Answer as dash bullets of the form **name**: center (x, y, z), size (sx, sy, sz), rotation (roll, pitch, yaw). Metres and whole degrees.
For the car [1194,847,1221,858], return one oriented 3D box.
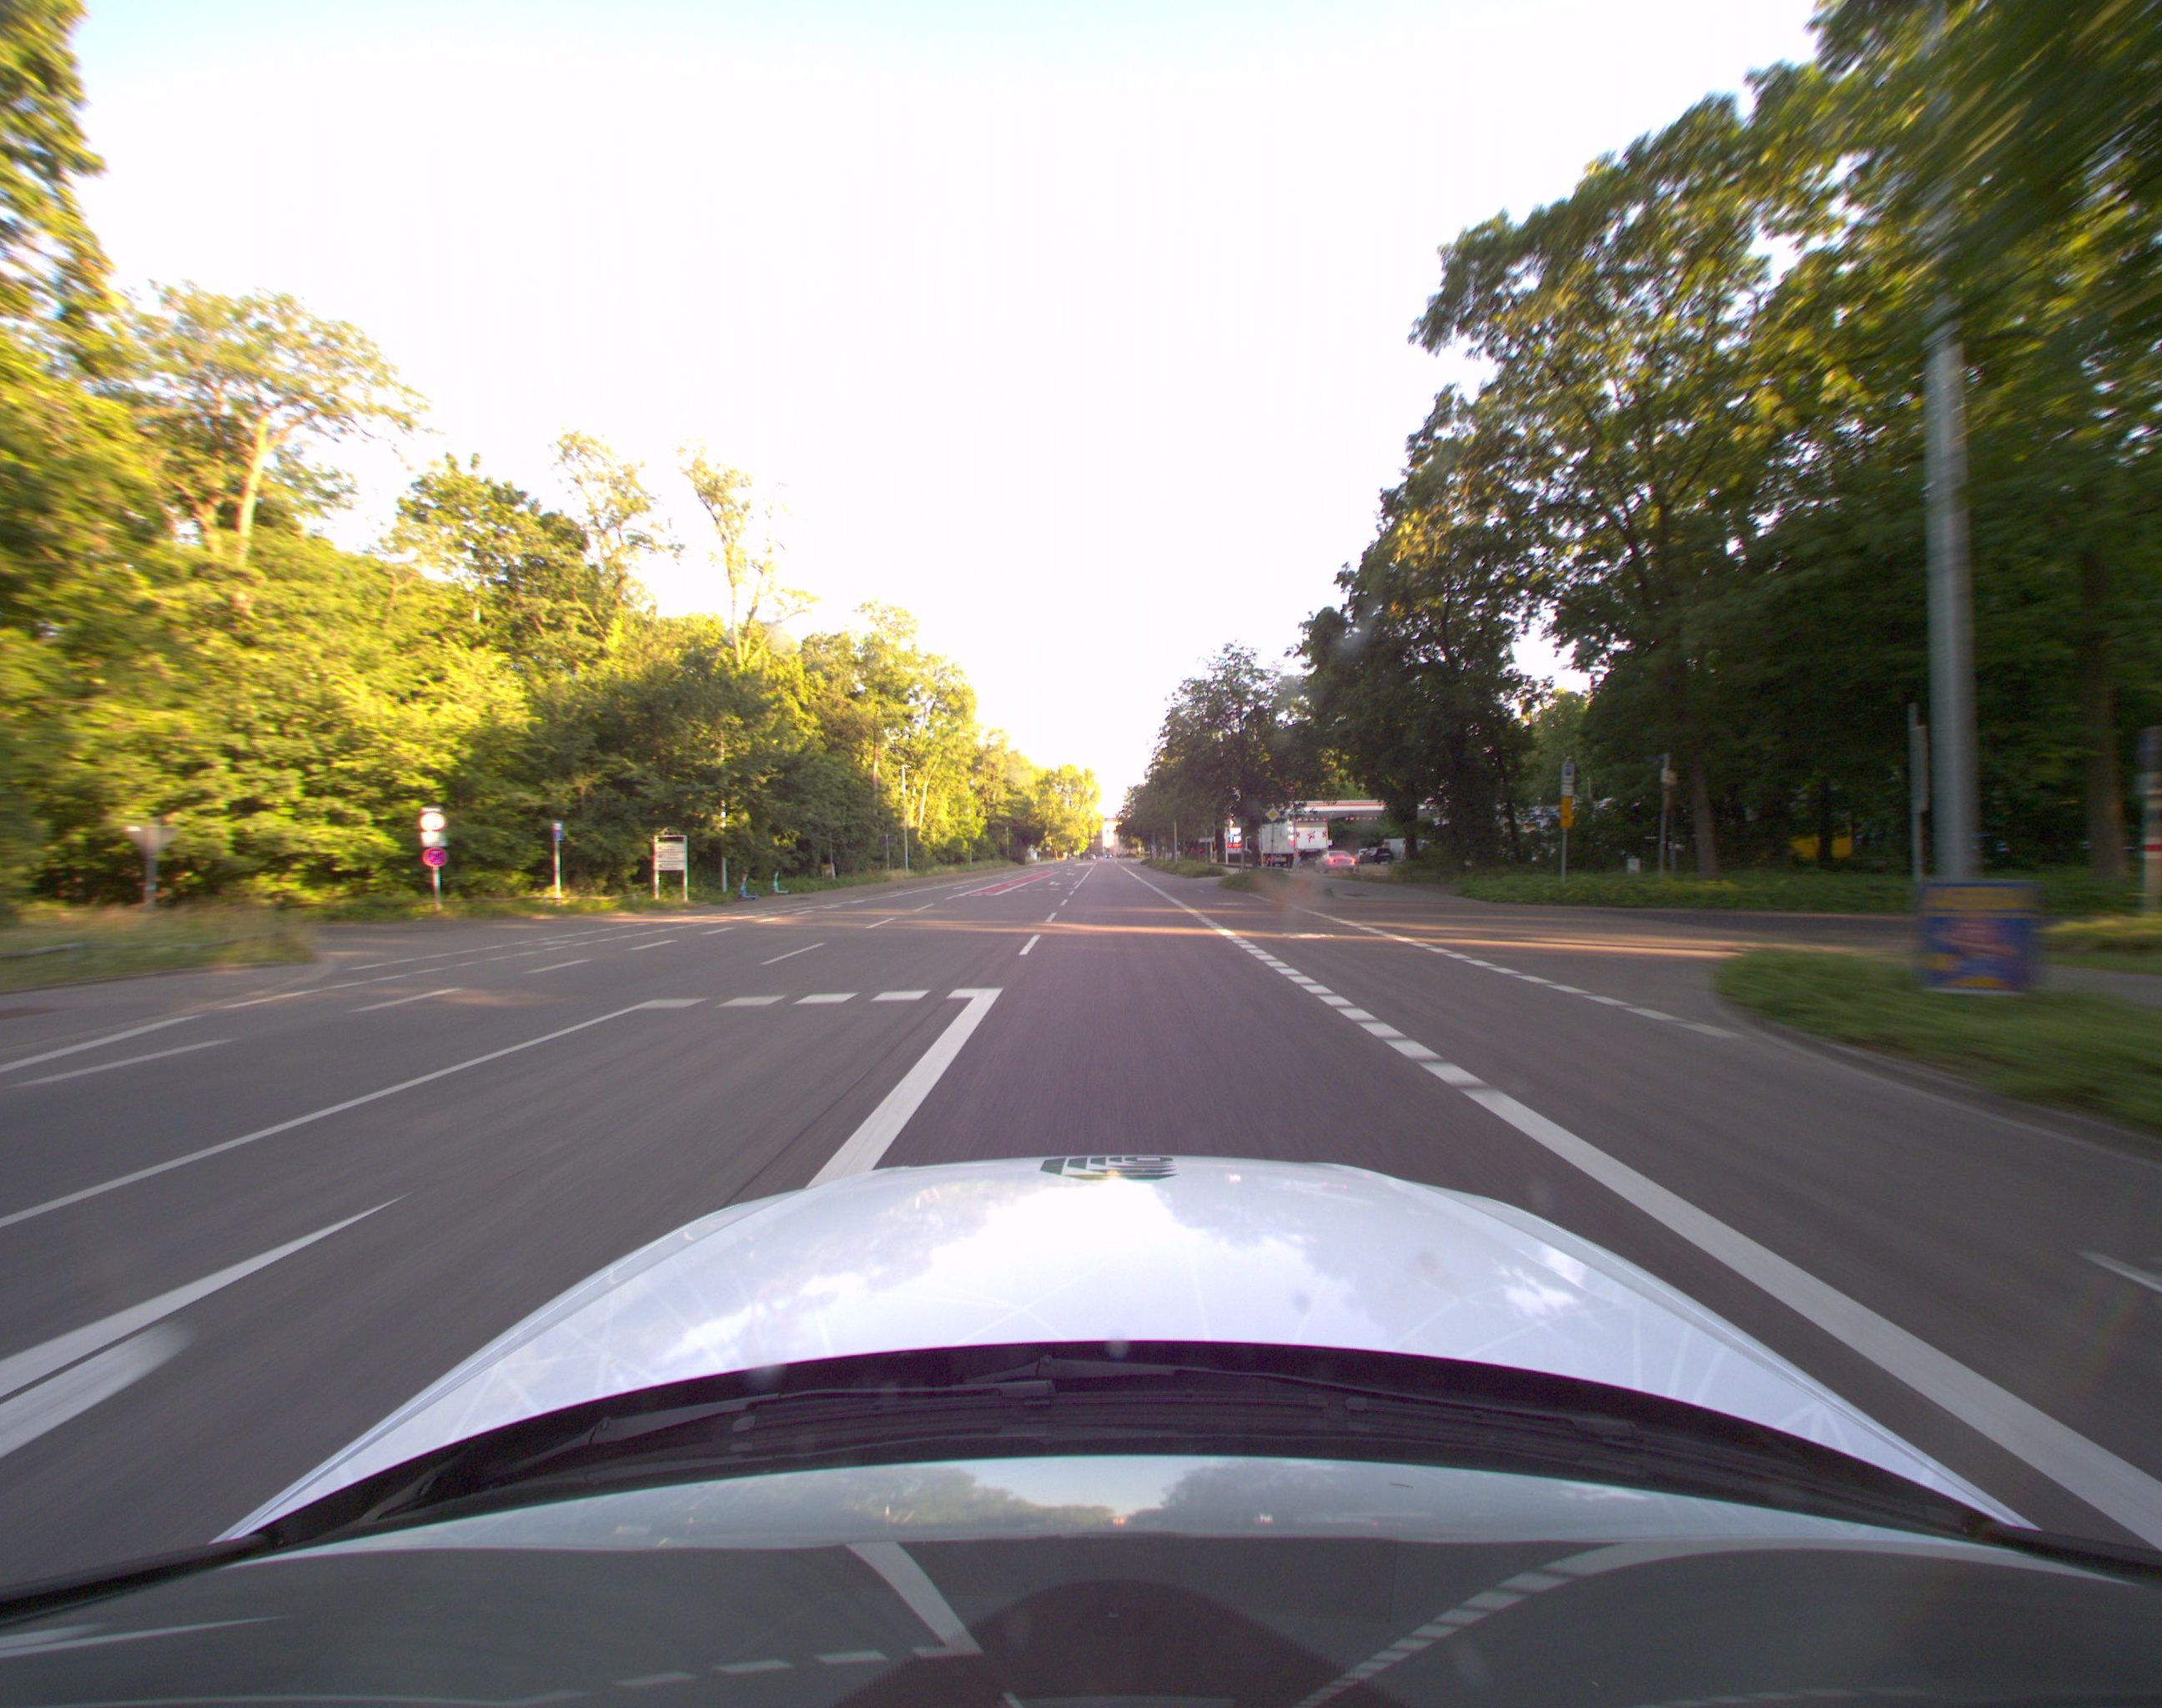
- **car**: center (23.198, -0.247, 149.595), size (4.881, 1.990, 1.927), rotation (-2, 0, 9)

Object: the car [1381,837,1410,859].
- **car**: center (33.980, -0.666, 88.201), size (1.761, 2.347, 4.628), rotation (0, 0, 5)

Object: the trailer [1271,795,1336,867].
- **trailer**: center (17.845, -1.785, 65.921), size (3.010, 5.462, 7.934), rotation (-1, 0, 0)

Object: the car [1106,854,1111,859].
- **car**: center (8.468, 0.786, 251.026), size (1.487, 1.486, 3.493), rotation (-1, 0, 2)

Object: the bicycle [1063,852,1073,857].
- **bicycle**: center (-3.318, 0.078, 204.371), size (2.446, 1.195, 0.759), rotation (-2, 0, 11)

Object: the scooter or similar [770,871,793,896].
- **scooter or similar**: center (-13.159, 1.280, 35.824), size (0.901, 1.068, 0.492), rotation (-1, 0, -24)

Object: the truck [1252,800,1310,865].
- **truck**: center (17.854, -1.843, 73.295), size (3.023, 5.455, 8.409), rotation (-1, 1, 0)

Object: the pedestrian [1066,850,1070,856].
- **pedestrian**: center (-3.338, -0.333, 204.399), size (0.786, 1.580, 0.748), rotation (0, 0, 11)

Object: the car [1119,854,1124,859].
- **car**: center (11.987, 0.814, 240.823), size (1.487, 1.486, 3.493), rotation (-1, 0, 2)

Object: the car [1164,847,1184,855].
- **car**: center (21.402, -0.701, 186.508), size (4.433, 1.590, 1.720), rotation (-2, 0, 9)

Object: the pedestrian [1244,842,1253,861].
- **pedestrian**: center (15.855, -0.227, 76.929), size (0.754, 1.798, 0.707), rotation (0, 0, 5)

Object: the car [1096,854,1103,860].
- **car**: center (4.674, 0.667, 204.930), size (1.487, 1.486, 3.493), rotation (-2, 0, 2)

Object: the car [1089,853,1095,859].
- **car**: center (2.827, 0.529, 211.502), size (1.487, 1.291, 3.493), rotation (-1, 0, 2)

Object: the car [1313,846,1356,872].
- **car**: center (16.574, 0.311, 53.477), size (1.761, 1.583, 4.826), rotation (0, 0, 5)

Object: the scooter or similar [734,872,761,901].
- **scooter or similar**: center (-13.231, 1.283, 32.310), size (0.357, 1.110, 0.885), rotation (-2, 0, 43)

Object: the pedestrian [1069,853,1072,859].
- **pedestrian**: center (-2.748, 0.438, 211.434), size (0.786, 1.580, 0.748), rotation (0, 0, 11)
